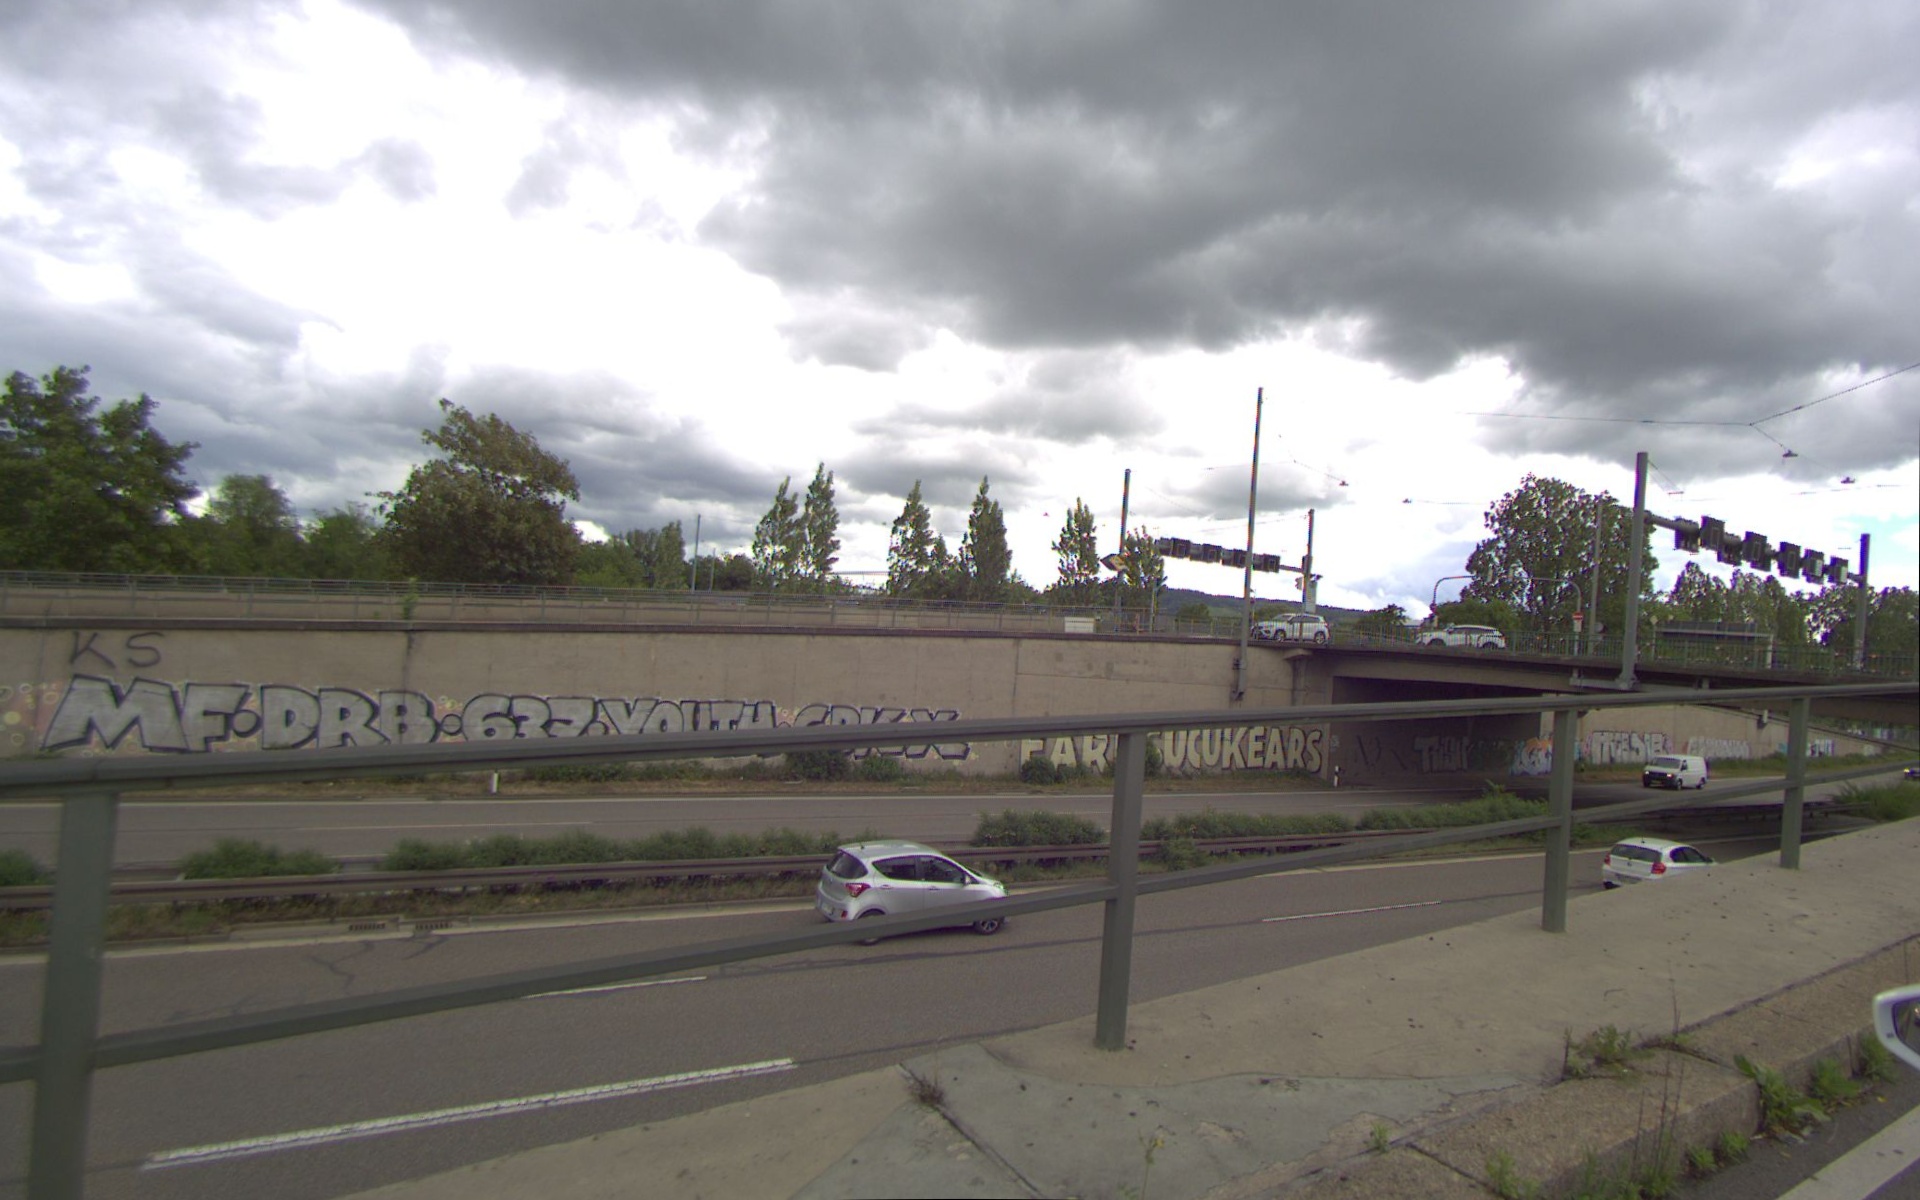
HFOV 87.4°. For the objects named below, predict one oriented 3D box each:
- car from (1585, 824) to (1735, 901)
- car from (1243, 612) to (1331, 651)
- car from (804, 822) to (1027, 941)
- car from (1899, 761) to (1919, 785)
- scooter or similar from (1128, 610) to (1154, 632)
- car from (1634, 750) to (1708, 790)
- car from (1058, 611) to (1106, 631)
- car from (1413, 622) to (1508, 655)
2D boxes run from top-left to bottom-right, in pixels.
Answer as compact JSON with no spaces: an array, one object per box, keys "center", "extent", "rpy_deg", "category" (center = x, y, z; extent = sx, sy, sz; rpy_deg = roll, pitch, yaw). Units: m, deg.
[{"center":[18.745,6.945,26.861],"extent":[4.119,1.470,1.734],"rpy_deg":[6,-3,-31],"category":"car"},{"center":[17.469,1.663,53.680],"extent":[4.151,1.895,1.990],"rpy_deg":[2,-1,-21],"category":"car"},{"center":[-0.772,4.976,18.128],"extent":[3.641,1.572,1.549],"rpy_deg":[6,-3,-30],"category":"car"},{"center":[81.153,14.602,84.665],"extent":[4.506,1.761,1.904],"rpy_deg":[6,-4,-33],"category":"car"},{"center":[10.022,1.177,55.576],"extent":[1.403,1.108,0.539],"rpy_deg":[5,-2,-36],"category":"scooter or similar"},{"center":[43.899,10.481,62.010],"extent":[5.126,2.093,1.981],"rpy_deg":[6,-3,-34],"category":"car"},{"center":[9.267,1.562,76.514],"extent":[1.538,1.372,3.858],"rpy_deg":[2,-1,-32],"category":"car"},{"center":[26.805,2.051,53.957],"extent":[4.259,1.597,1.840],"rpy_deg":[2,-1,16],"category":"car"}]
